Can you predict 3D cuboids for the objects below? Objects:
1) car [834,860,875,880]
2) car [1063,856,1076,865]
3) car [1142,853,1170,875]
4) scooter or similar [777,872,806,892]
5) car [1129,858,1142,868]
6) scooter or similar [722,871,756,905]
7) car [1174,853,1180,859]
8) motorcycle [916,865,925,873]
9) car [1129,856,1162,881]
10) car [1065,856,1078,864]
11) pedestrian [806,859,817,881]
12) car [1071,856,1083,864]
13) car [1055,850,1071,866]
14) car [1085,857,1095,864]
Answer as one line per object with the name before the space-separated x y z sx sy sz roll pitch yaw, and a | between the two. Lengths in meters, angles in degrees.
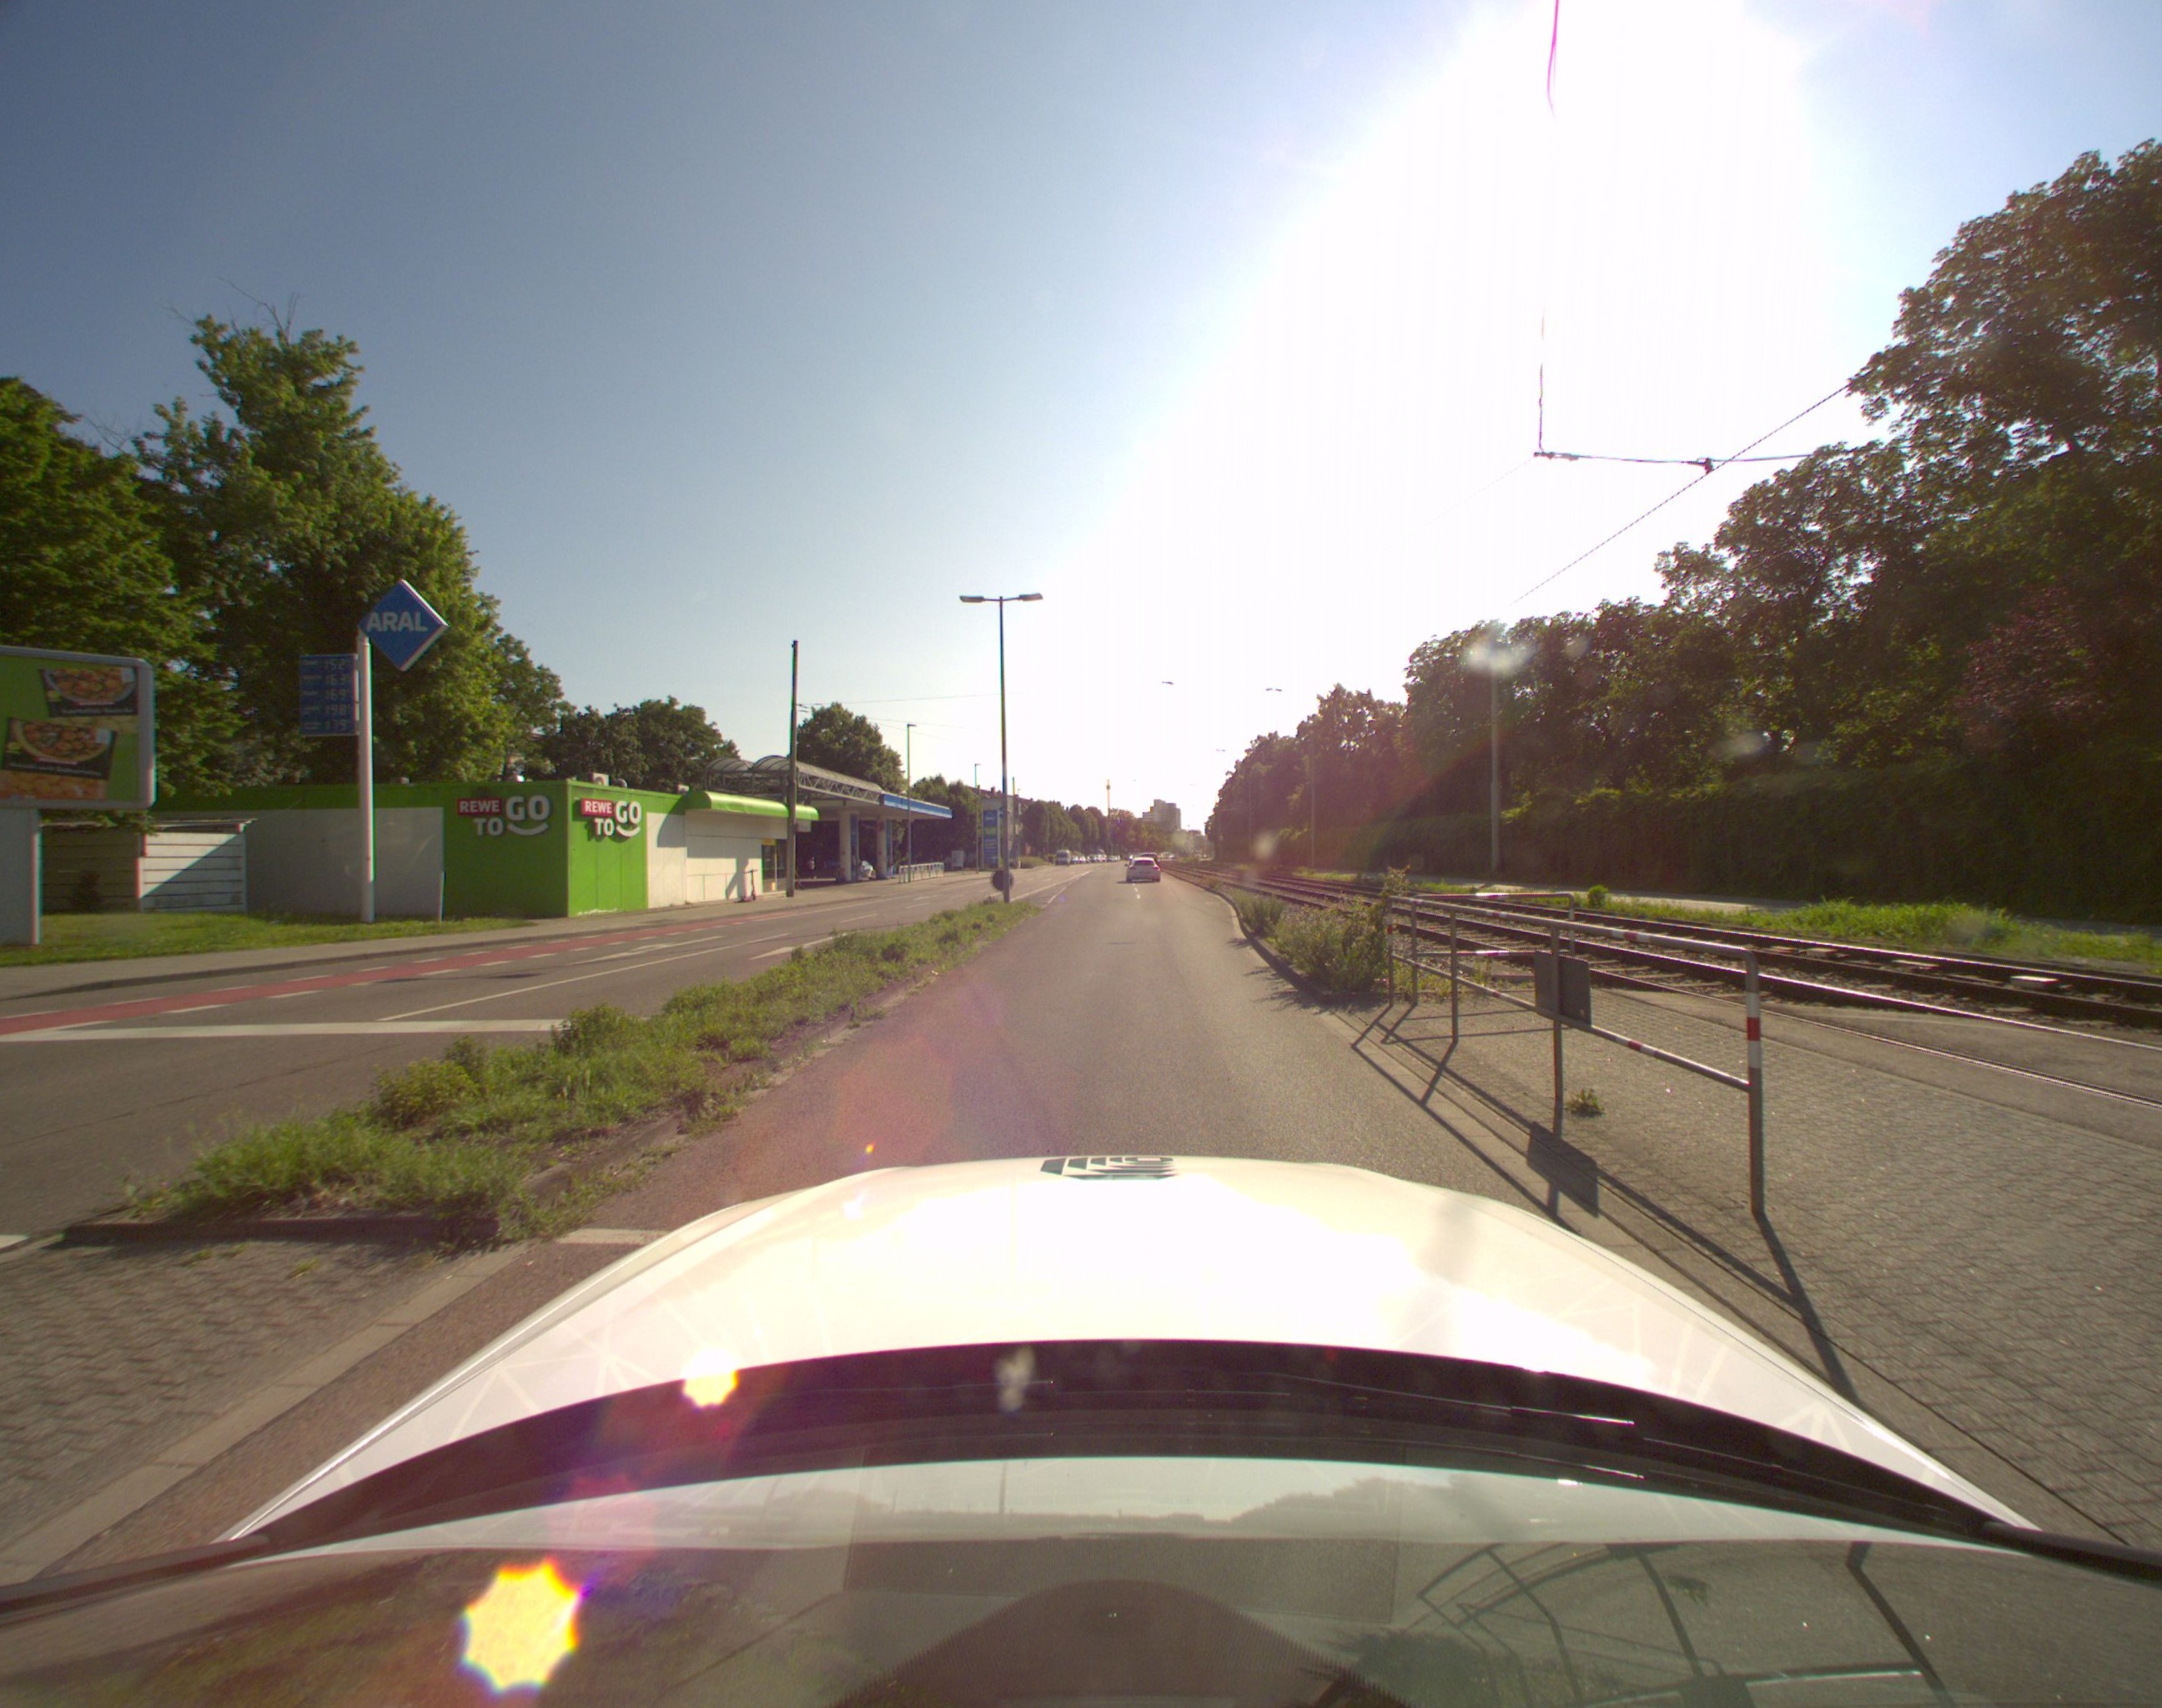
car | -16.683 1.173 60.245 1.737 1.393 4.123 -1 0 2
car | -2.043 1.101 143.844 1.984 1.416 3.849 -1 0 5
car | 5.742 0.758 62.574 1.719 1.593 3.599 1 0 -1
scooter or similar | -15.095 1.444 42.471 1.254 0.987 0.500 -1 0 3
car | 8.023 1.309 119.732 1.741 1.486 3.605 1 0 4
scooter or similar | -12.713 1.243 30.294 0.529 1.174 1.312 4 0 6
car | 29.456 0.599 250.791 1.714 1.593 3.610 1 0 9
motorcycle | -18.431 1.709 93.630 0.668 0.901 1.672 -1 0 3
car | 3.609 0.812 46.315 1.773 1.356 3.604 1 0 3
car | -1.677 1.156 149.810 1.984 1.416 3.849 -1 0 5
pedestrian | -22.311 1.322 67.391 0.661 1.728 0.847 -1 0 -9
car | -0.761 1.195 155.677 1.984 1.416 3.849 -1 0 5
car | -2.830 0.637 128.625 1.983 2.376 4.546 -1 0 6
car | 2.011 1.464 178.083 1.984 1.416 3.849 -1 0 5
